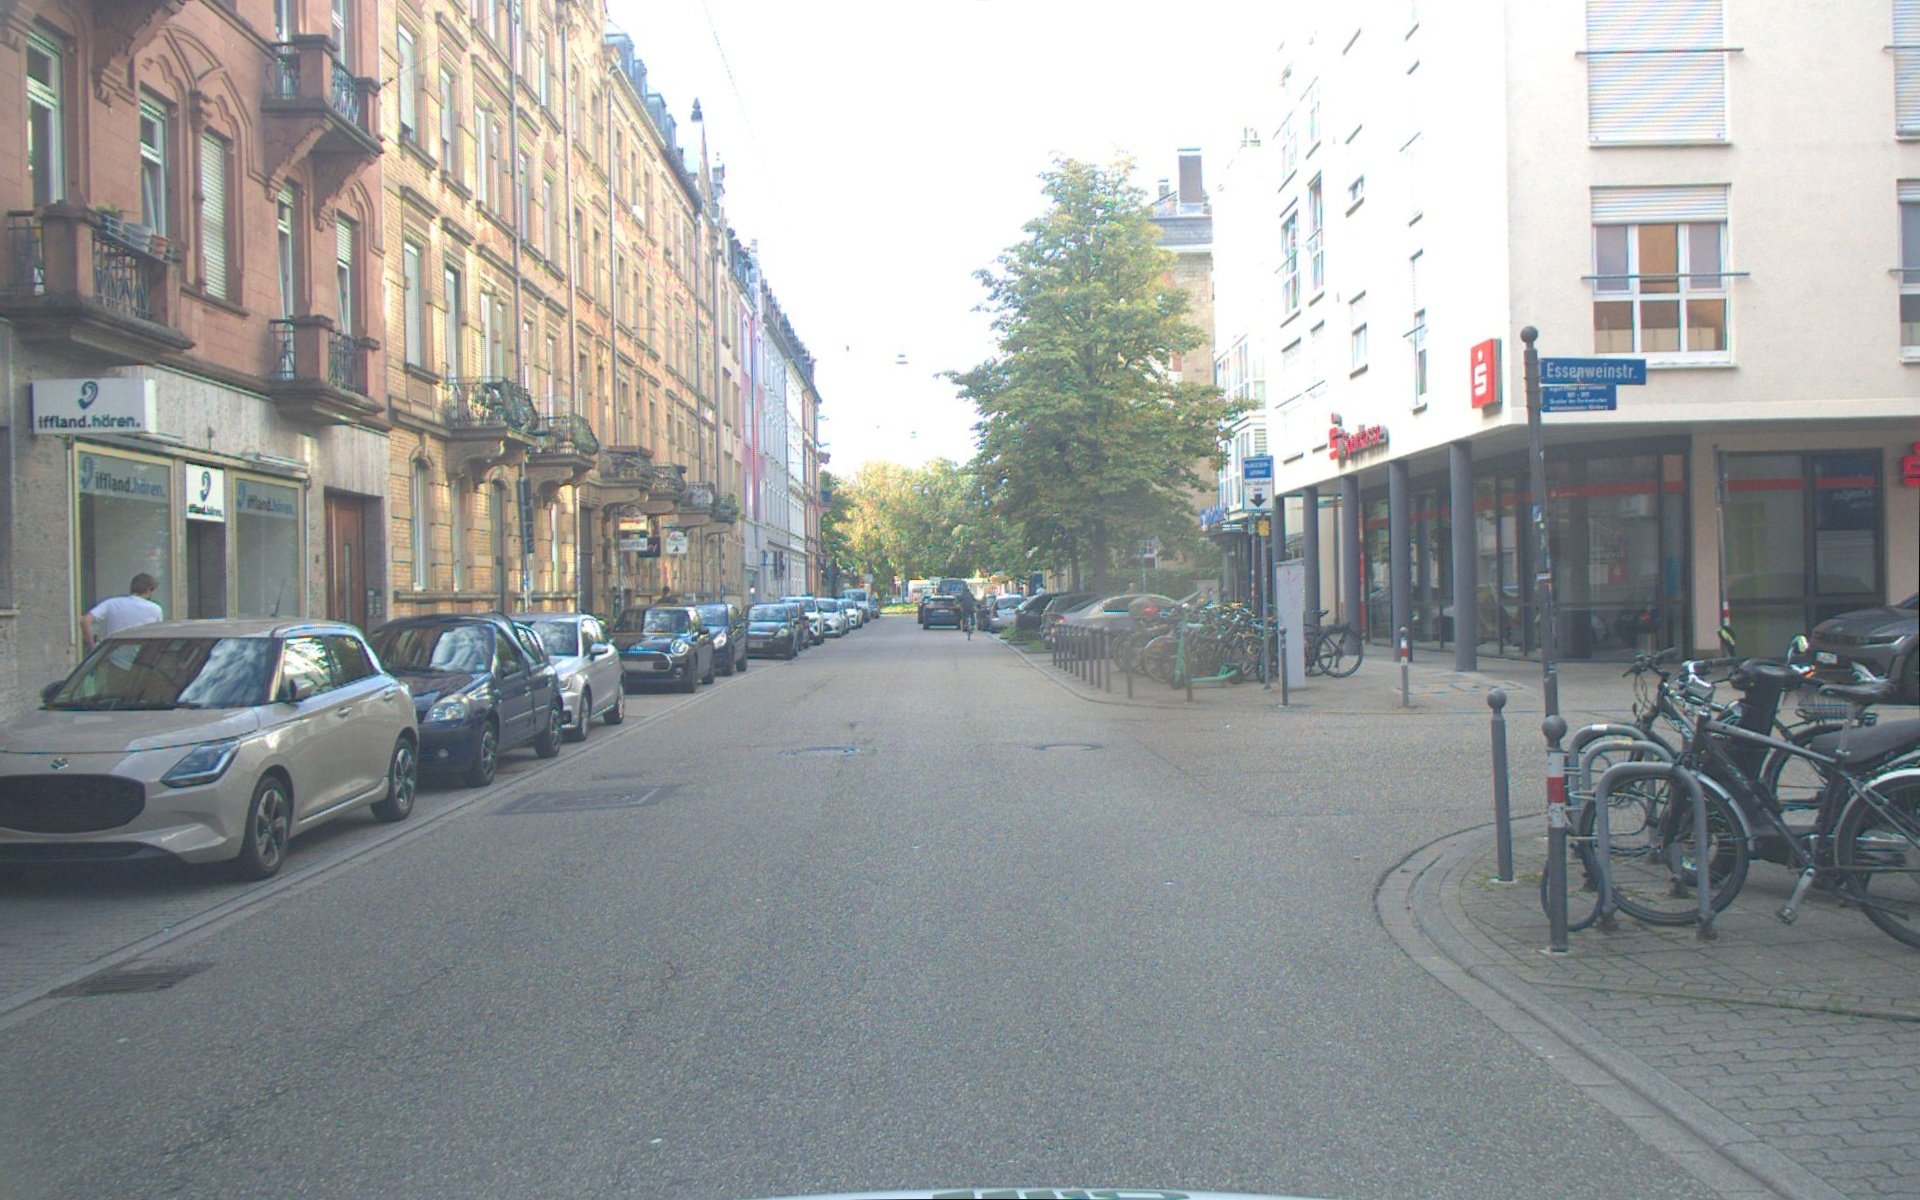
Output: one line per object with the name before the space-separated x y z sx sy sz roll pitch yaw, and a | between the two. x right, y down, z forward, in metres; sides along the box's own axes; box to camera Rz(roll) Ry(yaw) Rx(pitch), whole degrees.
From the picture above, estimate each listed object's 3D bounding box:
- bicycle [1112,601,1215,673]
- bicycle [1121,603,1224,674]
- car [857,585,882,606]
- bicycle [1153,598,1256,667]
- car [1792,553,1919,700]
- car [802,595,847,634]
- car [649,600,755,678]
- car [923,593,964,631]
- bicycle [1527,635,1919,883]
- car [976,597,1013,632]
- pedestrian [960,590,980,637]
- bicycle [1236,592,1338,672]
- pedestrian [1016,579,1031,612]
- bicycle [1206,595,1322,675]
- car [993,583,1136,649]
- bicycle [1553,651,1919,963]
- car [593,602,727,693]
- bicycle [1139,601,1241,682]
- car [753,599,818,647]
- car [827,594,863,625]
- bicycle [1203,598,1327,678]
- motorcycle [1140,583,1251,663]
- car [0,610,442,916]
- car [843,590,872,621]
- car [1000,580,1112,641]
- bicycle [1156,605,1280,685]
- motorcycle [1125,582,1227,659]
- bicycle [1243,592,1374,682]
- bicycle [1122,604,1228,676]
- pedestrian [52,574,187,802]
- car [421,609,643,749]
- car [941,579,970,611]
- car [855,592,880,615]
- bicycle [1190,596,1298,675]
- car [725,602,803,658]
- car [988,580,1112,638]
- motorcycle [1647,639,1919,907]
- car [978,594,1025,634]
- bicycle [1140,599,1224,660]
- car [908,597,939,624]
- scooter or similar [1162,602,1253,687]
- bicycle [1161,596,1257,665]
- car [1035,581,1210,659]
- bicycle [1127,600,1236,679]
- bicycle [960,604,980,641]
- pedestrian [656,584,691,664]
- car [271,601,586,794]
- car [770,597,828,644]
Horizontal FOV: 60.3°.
bicycle | 3.713 0.676 30.244 1.757 1.179 0.500 -4 1 2
bicycle | 3.757 0.683 29.311 1.729 1.138 0.411 -4 0 2
car | -6.822 -0.326 124.900 1.555 1.566 3.753 0 0 1
bicycle | 4.525 0.610 30.665 1.758 1.179 0.500 -3 1 25
car | 12.681 0.249 20.054 4.272 1.658 1.808 -1 2 0
car | -5.649 0.601 69.352 1.656 1.577 3.866 0 0 -2
car | -5.350 0.772 34.696 1.655 1.462 3.867 0 1 -1
car | -0.800 0.592 79.625 1.925 1.771 4.040 0 -1 -1
bicycle | 3.975 0.763 8.400 1.928 1.114 0.686 -3 -1 42
car | 1.565 0.653 76.299 1.655 1.577 3.688 0 0 0
pedestrian | 0.361 0.470 58.976 0.703 1.679 0.930 0 0 0
bicycle | 5.153 0.500 26.120 1.465 1.166 0.411 -4 0 -1
pedestrian | 4.378 -0.312 114.531 0.975 2.269 0.898 0 0 0
bicycle | 4.897 0.556 26.654 1.732 1.166 0.411 -4 1 -7
car | 2.990 0.441 47.338 3.903 1.611 2.001 -3 0 4
bicycle | 3.397 0.787 6.664 1.738 1.114 0.680 -3 0 42
car | -5.135 0.775 28.749 1.655 1.411 3.867 0 1 -1
bicycle | 3.619 0.649 26.049 1.467 1.166 0.411 -4 1 -6
car | -5.589 0.714 53.319 1.656 1.393 3.866 3 0 -1
car | -5.841 0.482 84.557 1.656 1.577 3.866 0 0 -2
bicycle | 4.660 0.575 25.327 1.729 1.106 0.650 -4 1 1
motorcycle | 4.765 0.459 33.559 2.105 1.459 0.765 -4 1 3
car | -4.801 0.865 10.632 1.706 1.509 3.983 0 1 -1
car | -6.258 0.351 101.049 1.656 1.853 3.866 0 0 -2
car | 3.461 0.362 59.679 3.904 1.712 1.739 -4 8 3
bicycle | 3.845 0.665 24.670 1.732 1.075 0.411 -4 1 -6
motorcycle | 4.765 0.442 36.594 2.105 1.557 0.686 -4 1 3
bicycle | 5.102 0.537 24.289 1.729 1.182 0.650 -4 1 1
bicycle | 3.708 0.689 28.565 1.729 1.118 0.411 -4 0 2
pedestrian | -6.957 0.711 13.728 0.717 1.821 0.771 2 0 -8
car | -4.960 0.858 19.670 1.655 1.411 3.867 0 1 -1
car | -0.317 -0.367 108.434 1.746 2.055 3.886 0 0 -2
car | -6.470 0.232 116.159 1.656 1.577 3.866 0 0 -2
bicycle | 4.671 0.570 27.153 1.741 1.166 0.409 -4 1 -21
car | -5.288 0.786 45.059 1.656 1.393 3.866 3 0 -1
car | 2.974 0.284 54.471 3.903 1.668 2.001 -3 0 4
motorcycle | 4.054 0.750 7.444 1.636 1.114 0.605 -3 0 42
car | 1.764 0.589 71.787 1.891 1.667 4.000 0 0 -1
bicycle | 4.682 0.616 34.902 1.630 1.179 0.557 -4 1 1
car | -2.091 0.603 94.684 1.761 1.497 3.886 0 0 -2
scooter or similar | 3.597 0.656 24.053 1.183 1.167 0.378 -3 1 31
bicycle | 4.755 0.579 31.610 1.697 1.179 0.500 -4 1 0
car | 3.779 0.477 38.778 3.694 1.573 1.726 -3 -1 -11
bicycle | 3.641 0.640 27.201 1.741 1.166 0.409 -4 1 -21
bicycle | 0.360 0.786 58.858 0.703 1.296 1.884 0 0 0
pedestrian | -6.860 0.573 39.606 0.675 1.886 0.931 0 0 1
car | -4.815 0.802 15.586 1.706 1.509 3.983 0 1 -1
car | -5.544 0.681 57.370 1.655 1.577 3.866 0 0 -1
